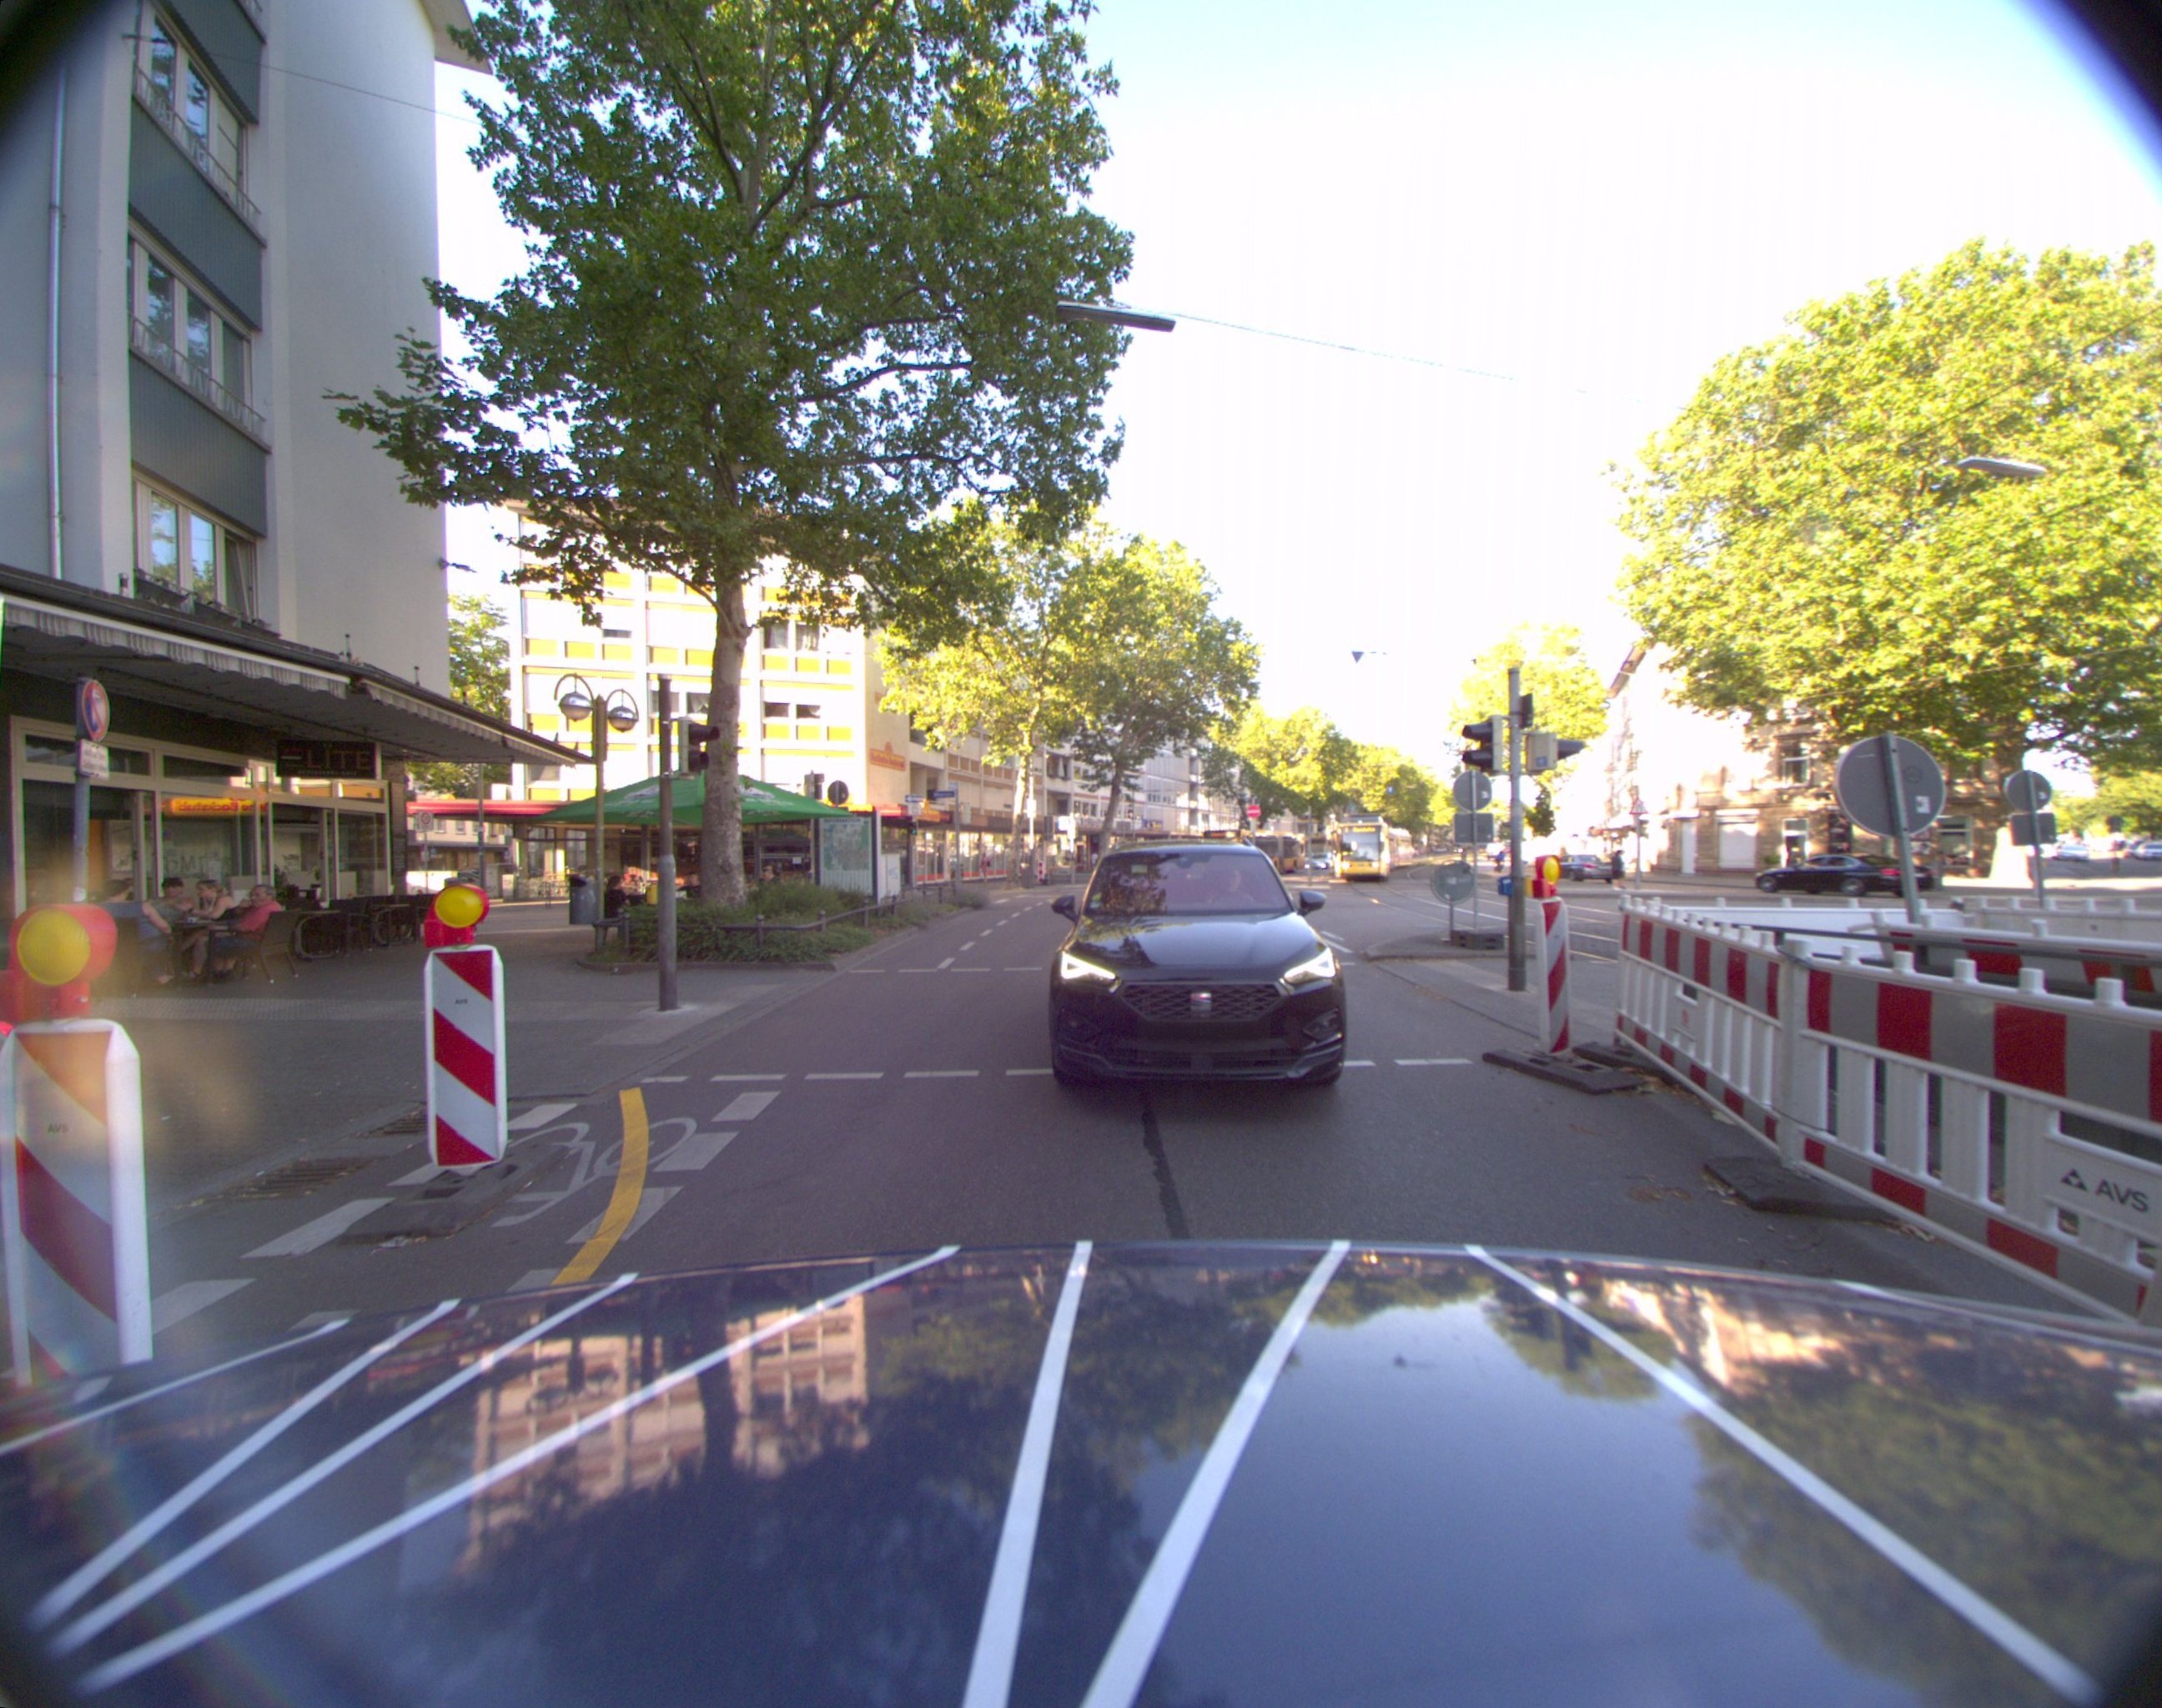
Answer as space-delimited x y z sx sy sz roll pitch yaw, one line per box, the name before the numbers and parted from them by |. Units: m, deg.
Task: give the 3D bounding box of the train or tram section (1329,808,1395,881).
train or tram section | 15.600 -0.505 41.646 2.819 3.467 10.355 -1 0 23

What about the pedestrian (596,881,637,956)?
pedestrian | -7.822 1.074 12.791 0.469 1.212 0.431 -2 0 -44

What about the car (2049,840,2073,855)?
car | 135.900 -0.957 105.374 4.007 2.004 1.846 -1 1 -36

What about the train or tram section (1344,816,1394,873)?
train or tram section | 19.505 -0.606 51.243 2.838 3.467 10.354 -1 0 22

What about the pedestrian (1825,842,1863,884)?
pedestrian | 32.458 0.375 32.327 0.797 1.745 0.802 -1 1 0

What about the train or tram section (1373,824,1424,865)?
train or tram section | 29.162 -0.883 69.401 2.837 3.467 10.358 -1 1 31

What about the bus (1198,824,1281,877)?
bus | 10.317 -0.244 48.503 2.748 3.085 9.514 0 0 27

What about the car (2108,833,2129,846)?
car | 161.413 -2.209 118.183 4.007 2.004 1.846 -1 1 -36

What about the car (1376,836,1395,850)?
car | 39.406 -1.450 98.301 1.952 1.768 4.006 0 1 26

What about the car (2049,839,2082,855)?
car | 91.001 -0.639 70.196 4.007 1.485 1.723 -1 1 -36

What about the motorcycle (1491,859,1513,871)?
motorcycle | 30.774 0.818 55.532 0.682 0.804 1.996 -1 1 6

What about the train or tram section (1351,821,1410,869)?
train or tram section | 23.950 -0.723 60.369 2.872 3.467 10.357 -1 1 30

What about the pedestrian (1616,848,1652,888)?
pedestrian | 20.746 0.516 28.509 0.798 1.500 0.800 -1 1 -23

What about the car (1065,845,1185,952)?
car | 0.892 0.695 14.269 1.848 1.648 4.653 -2 0 5

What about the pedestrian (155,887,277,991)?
pedestrian | -10.687 1.031 9.415 0.666 1.211 0.717 0 -1 -5

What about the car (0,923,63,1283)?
car | -5.164 1.015 1.458 1.623 1.457 3.604 2 0 -2

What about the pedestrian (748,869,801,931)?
pedestrian | -6.534 0.962 16.219 0.718 1.278 0.769 -1 1 13

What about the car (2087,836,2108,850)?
car | 156.579 -1.690 117.082 4.007 2.004 1.846 -1 1 -36

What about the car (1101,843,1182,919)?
car | 1.541 0.596 18.841 1.743 1.630 4.300 -2 0 6

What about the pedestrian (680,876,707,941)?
pedestrian | -7.405 1.029 14.518 0.433 1.212 0.467 1 1 -29

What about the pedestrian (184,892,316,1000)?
pedestrian | -9.842 1.064 9.034 0.847 1.191 0.649 1 -1 -22

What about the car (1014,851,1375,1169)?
car | 0.740 0.832 6.152 1.848 1.648 4.300 -2 0 4

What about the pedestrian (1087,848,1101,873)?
pedestrian | 0.967 0.464 54.717 0.748 1.747 0.903 0 1 17

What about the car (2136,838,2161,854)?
car | 98.364 -0.735 69.776 4.007 1.485 1.723 -1 1 -36

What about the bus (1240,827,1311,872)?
bus | 14.739 -0.330 56.896 2.747 3.085 9.514 0 1 29

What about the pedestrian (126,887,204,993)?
pedestrian | -11.237 1.030 9.327 0.519 1.236 0.553 0 -1 34

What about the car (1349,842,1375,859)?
car | 31.364 -0.398 84.750 1.951 1.768 4.007 0 1 32

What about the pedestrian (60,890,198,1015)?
pedestrian | -10.214 1.025 8.184 0.651 1.244 0.716 1 -1 -24

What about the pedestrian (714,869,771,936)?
pedestrian | -6.802 0.961 15.296 0.718 1.278 0.769 -1 1 14

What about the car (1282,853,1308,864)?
car | 23.948 0.518 85.056 2.629 1.209 1.200 -1 1 -6

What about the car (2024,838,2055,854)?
car | 94.741 -0.782 75.106 4.007 1.485 1.723 -1 1 -36

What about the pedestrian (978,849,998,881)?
pedestrian | -5.186 0.624 42.494 0.748 1.747 0.903 0 1 17

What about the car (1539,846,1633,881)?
car | 25.078 0.472 37.933 1.951 1.645 4.692 0 0 6

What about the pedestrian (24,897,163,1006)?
pedestrian | -11.081 1.068 8.559 0.718 1.123 0.649 1 -1 -24

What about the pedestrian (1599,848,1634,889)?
pedestrian | 19.910 0.540 28.269 0.799 1.500 0.800 -1 1 -28

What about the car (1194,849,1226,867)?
car | 11.099 0.342 65.224 1.648 1.463 3.715 -1 0 28

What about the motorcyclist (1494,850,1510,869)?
motorcyclist | 30.760 0.402 55.515 0.682 1.308 0.985 -1 1 6

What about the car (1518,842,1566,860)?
car | 52.665 -0.348 86.828 4.651 1.965 1.901 -1 0 -11

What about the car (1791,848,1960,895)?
car | 26.298 0.556 25.423 1.996 1.440 4.544 0 0 18

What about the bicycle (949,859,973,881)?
bicycle | -6.655 0.871 42.069 0.528 1.136 1.976 0 0 15

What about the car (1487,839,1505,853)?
car | 61.797 -1.169 113.106 2.162 2.110 4.987 1 1 29

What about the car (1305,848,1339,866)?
car | 22.071 0.249 69.574 1.907 1.467 4.426 0 1 32

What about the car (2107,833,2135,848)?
car | 108.971 -1.446 79.614 4.007 1.485 1.723 -1 1 -36
